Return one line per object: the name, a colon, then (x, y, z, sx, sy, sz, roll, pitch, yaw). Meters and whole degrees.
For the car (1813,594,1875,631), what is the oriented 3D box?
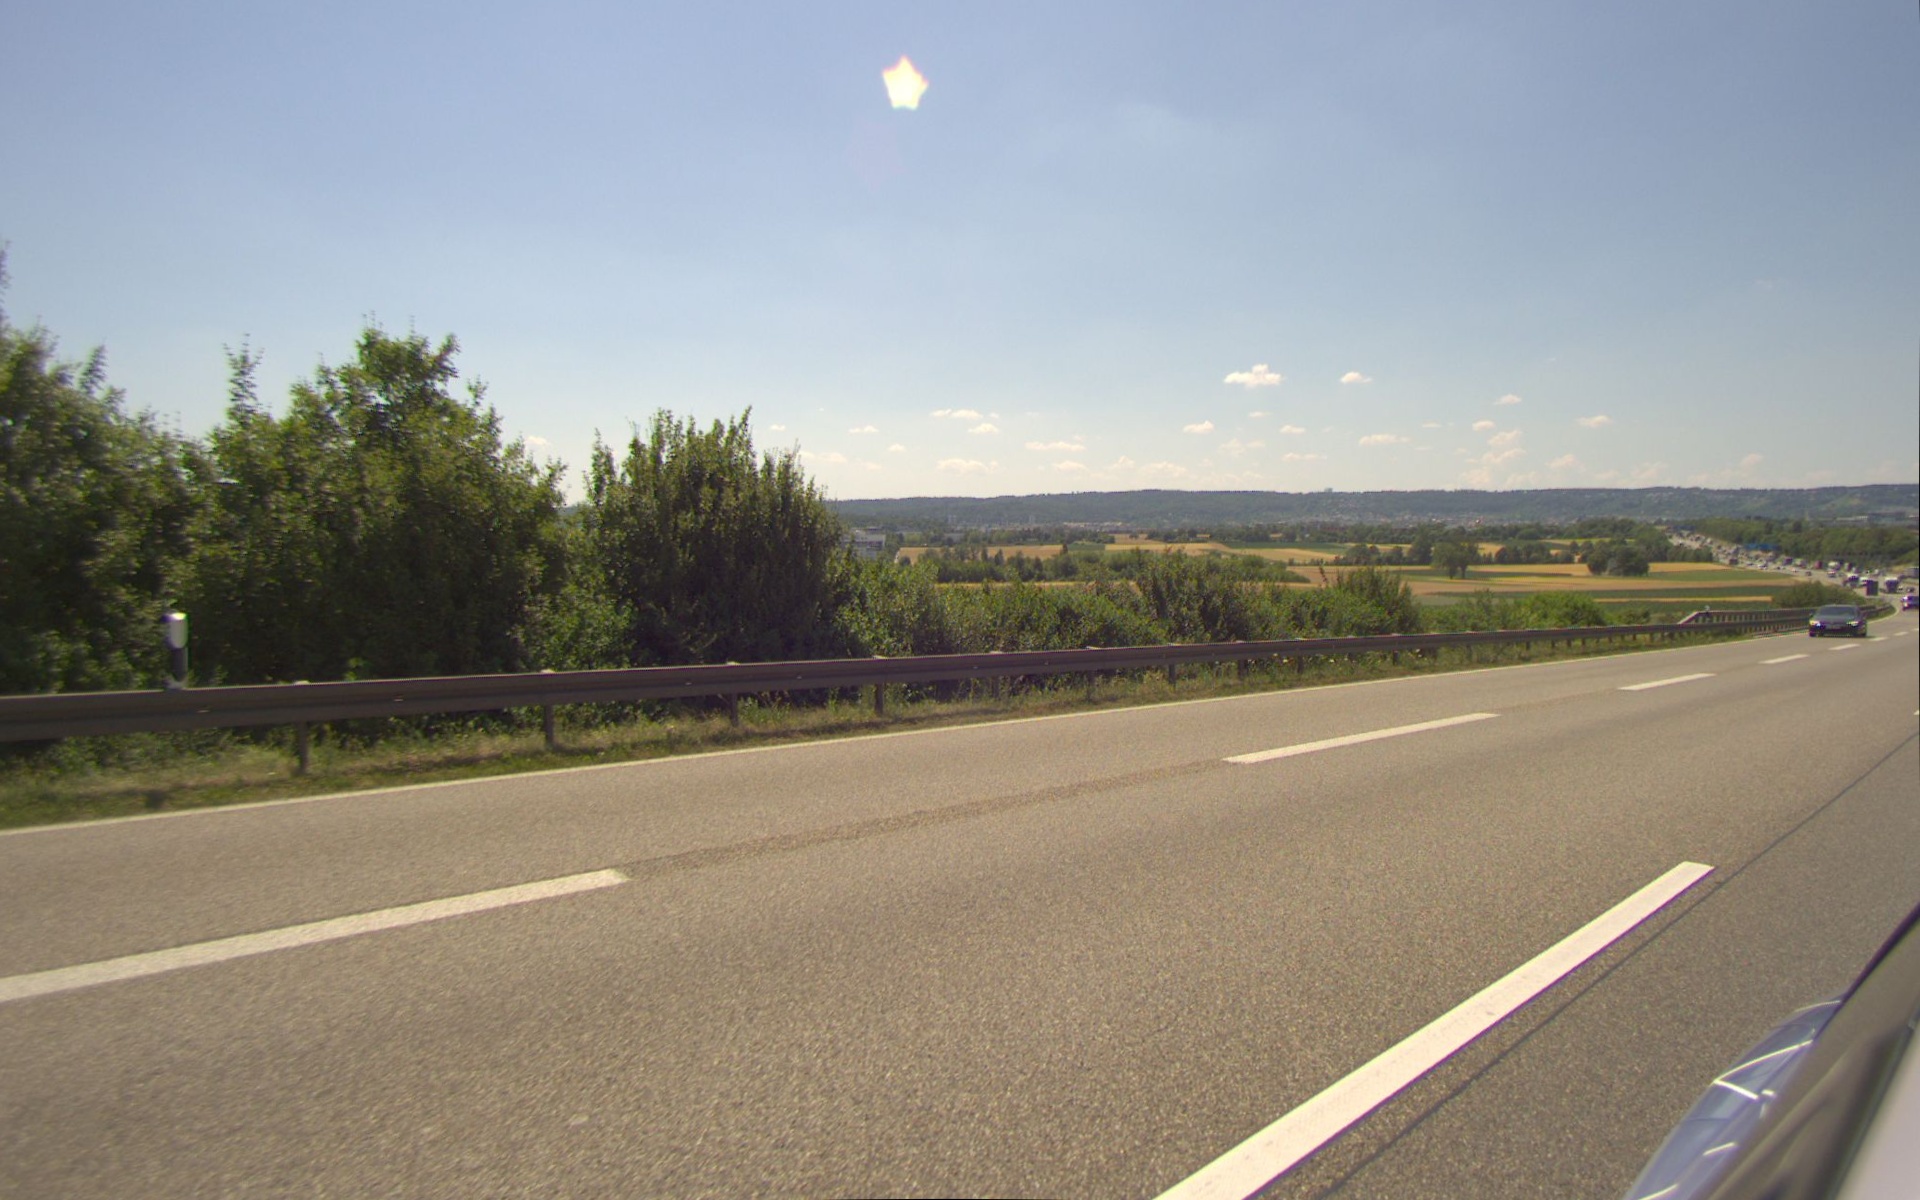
car: (39.952, 0.541, 45.722, 2.031, 1.571, 3.939, 1, 1, 42)
